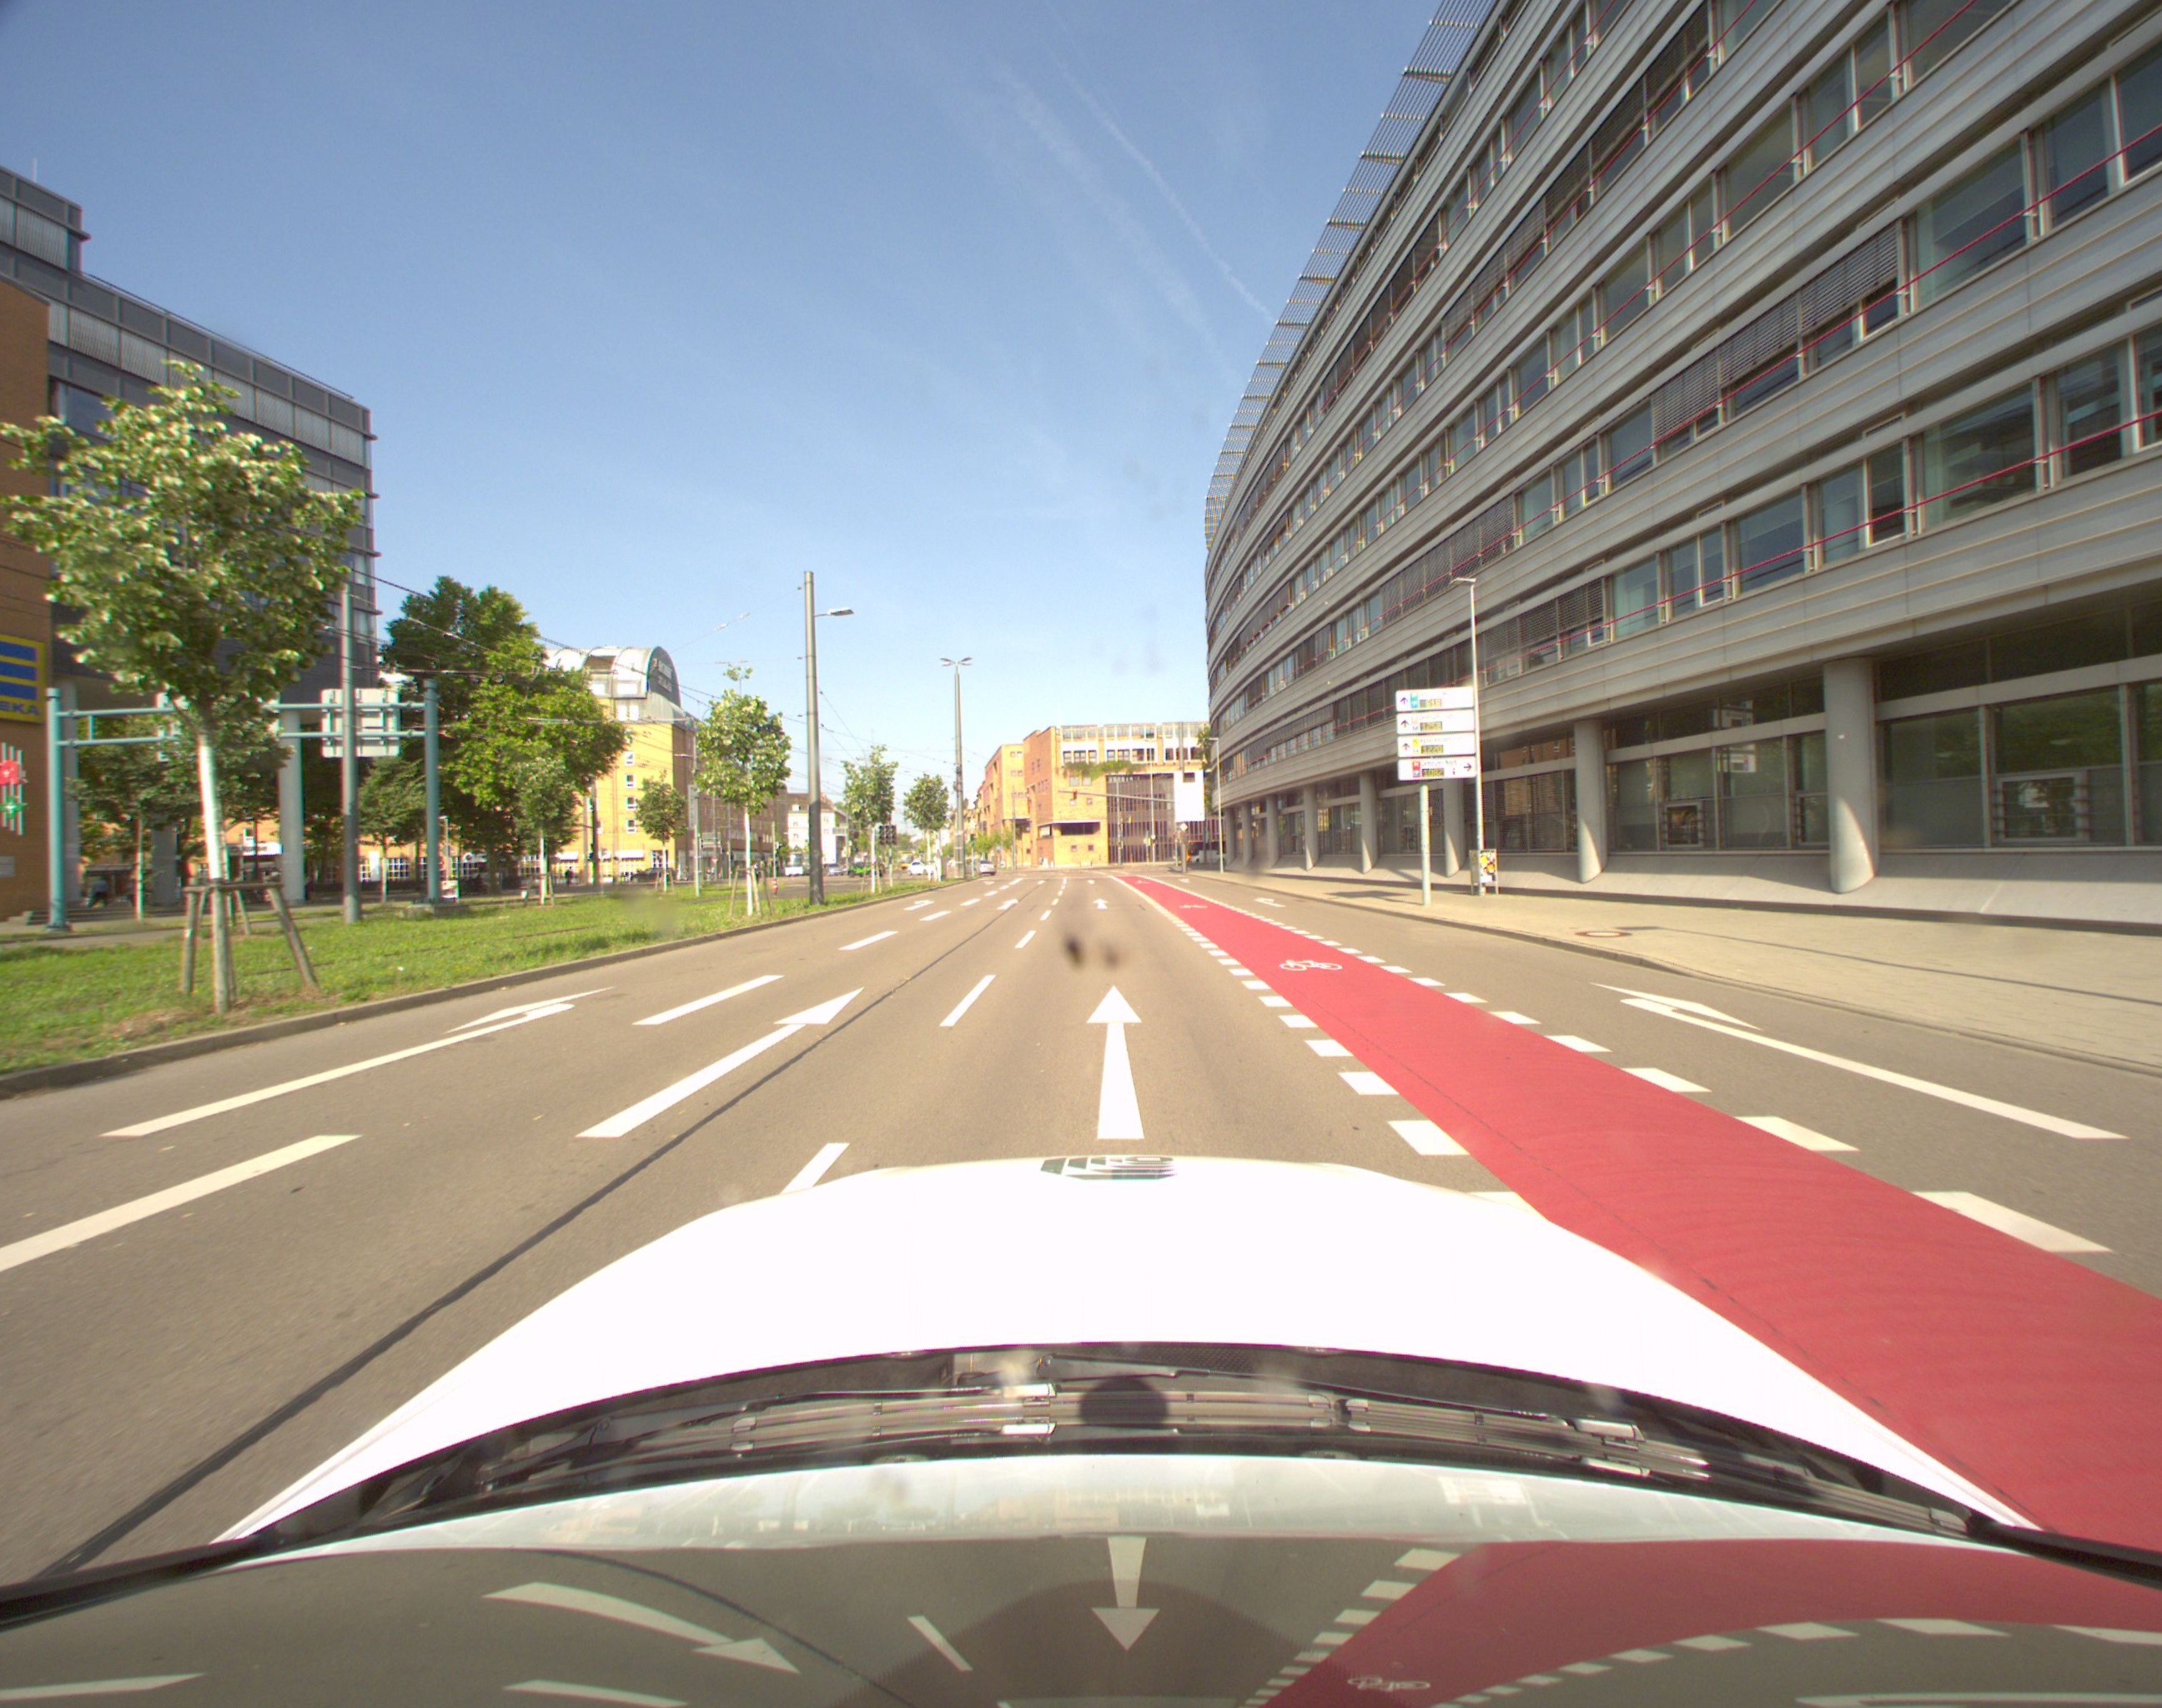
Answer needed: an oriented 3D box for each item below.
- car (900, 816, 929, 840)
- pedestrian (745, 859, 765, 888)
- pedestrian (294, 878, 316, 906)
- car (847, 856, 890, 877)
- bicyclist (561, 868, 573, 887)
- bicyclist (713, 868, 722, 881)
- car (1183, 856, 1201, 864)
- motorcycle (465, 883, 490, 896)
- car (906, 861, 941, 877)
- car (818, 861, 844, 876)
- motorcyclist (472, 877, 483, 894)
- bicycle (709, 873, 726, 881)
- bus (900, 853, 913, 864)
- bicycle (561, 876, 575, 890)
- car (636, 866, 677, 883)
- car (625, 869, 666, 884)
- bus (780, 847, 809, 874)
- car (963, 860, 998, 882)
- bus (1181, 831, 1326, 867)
[{"bbox_3d":[-16.703,-2.592,82.053,1.987,2.014,4.241,-2,-2,0],"label":"car"},{"bbox_3d":[-23.364,1.402,58.357,1.154,2.014,0.774,-2,-2,-8],"label":"pedestrian"},{"bbox_3d":[-45.278,2.212,47.522,0.612,1.543,0.666,-2,0,17],"label":"pedestrian"},{"bbox_3d":[-21.732,1.291,83.208,3.948,2.014,2.013,-3,-2,33],"label":"car"},{"bbox_3d":[-47.099,2.133,74.618,0.667,1.747,0.961,-1,-2,-19],"label":"bicyclist"},{"bbox_3d":[-46.566,2.624,104.295,0.989,1.696,0.667,-1,-2,-16],"label":"bicyclist"},{"bbox_3d":[13.383,0.762,98.128,1.947,0.958,1.092,0,-3,-4],"label":"car"},{"bbox_3d":[-47.747,2.808,64.427,1.689,0.995,0.283,-2,-2,-9],"label":"motorcycle"},{"bbox_3d":[-16.769,1.624,86.710,3.403,1.542,1.746,-3,-2,32],"label":"car"},{"bbox_3d":[-30.262,1.762,98.526,1.697,1.634,4.346,-3,1,-34],"label":"car"},{"bbox_3d":[-47.739,2.467,64.442,0.530,1.322,0.417,-2,-2,-8],"label":"motorcyclist"},{"bbox_3d":[-46.516,2.986,104.292,1.964,0.970,0.417,-1,-2,-17],"label":"bicycle"},{"bbox_3d":[-33.861,0.852,157.948,1.999,2.013,3.976,-2,0,-17],"label":"bus"},{"bbox_3d":[-47.142,2.688,74.784,0.550,1.206,2.272,-1,-2,-19],"label":"bicycle"},{"bbox_3d":[-46.226,2.237,88.688,3.950,1.678,2.012,-3,-2,27],"label":"car"},{"bbox_3d":[-49.605,2.562,92.794,3.598,1.624,1.868,-2,0,1],"label":"car"},{"bbox_3d":[-43.724,1.004,124.609,2.750,3.921,12.161,-2,0,-13],"label":"bus"},{"bbox_3d":[-8.824,1.493,71.425,1.715,1.755,3.853,-1,-1,-29],"label":"car"},{"bbox_3d":[21.563,-0.634,102.179,17.559,3.811,2.863,-2,-2,-2],"label":"bus"}]
